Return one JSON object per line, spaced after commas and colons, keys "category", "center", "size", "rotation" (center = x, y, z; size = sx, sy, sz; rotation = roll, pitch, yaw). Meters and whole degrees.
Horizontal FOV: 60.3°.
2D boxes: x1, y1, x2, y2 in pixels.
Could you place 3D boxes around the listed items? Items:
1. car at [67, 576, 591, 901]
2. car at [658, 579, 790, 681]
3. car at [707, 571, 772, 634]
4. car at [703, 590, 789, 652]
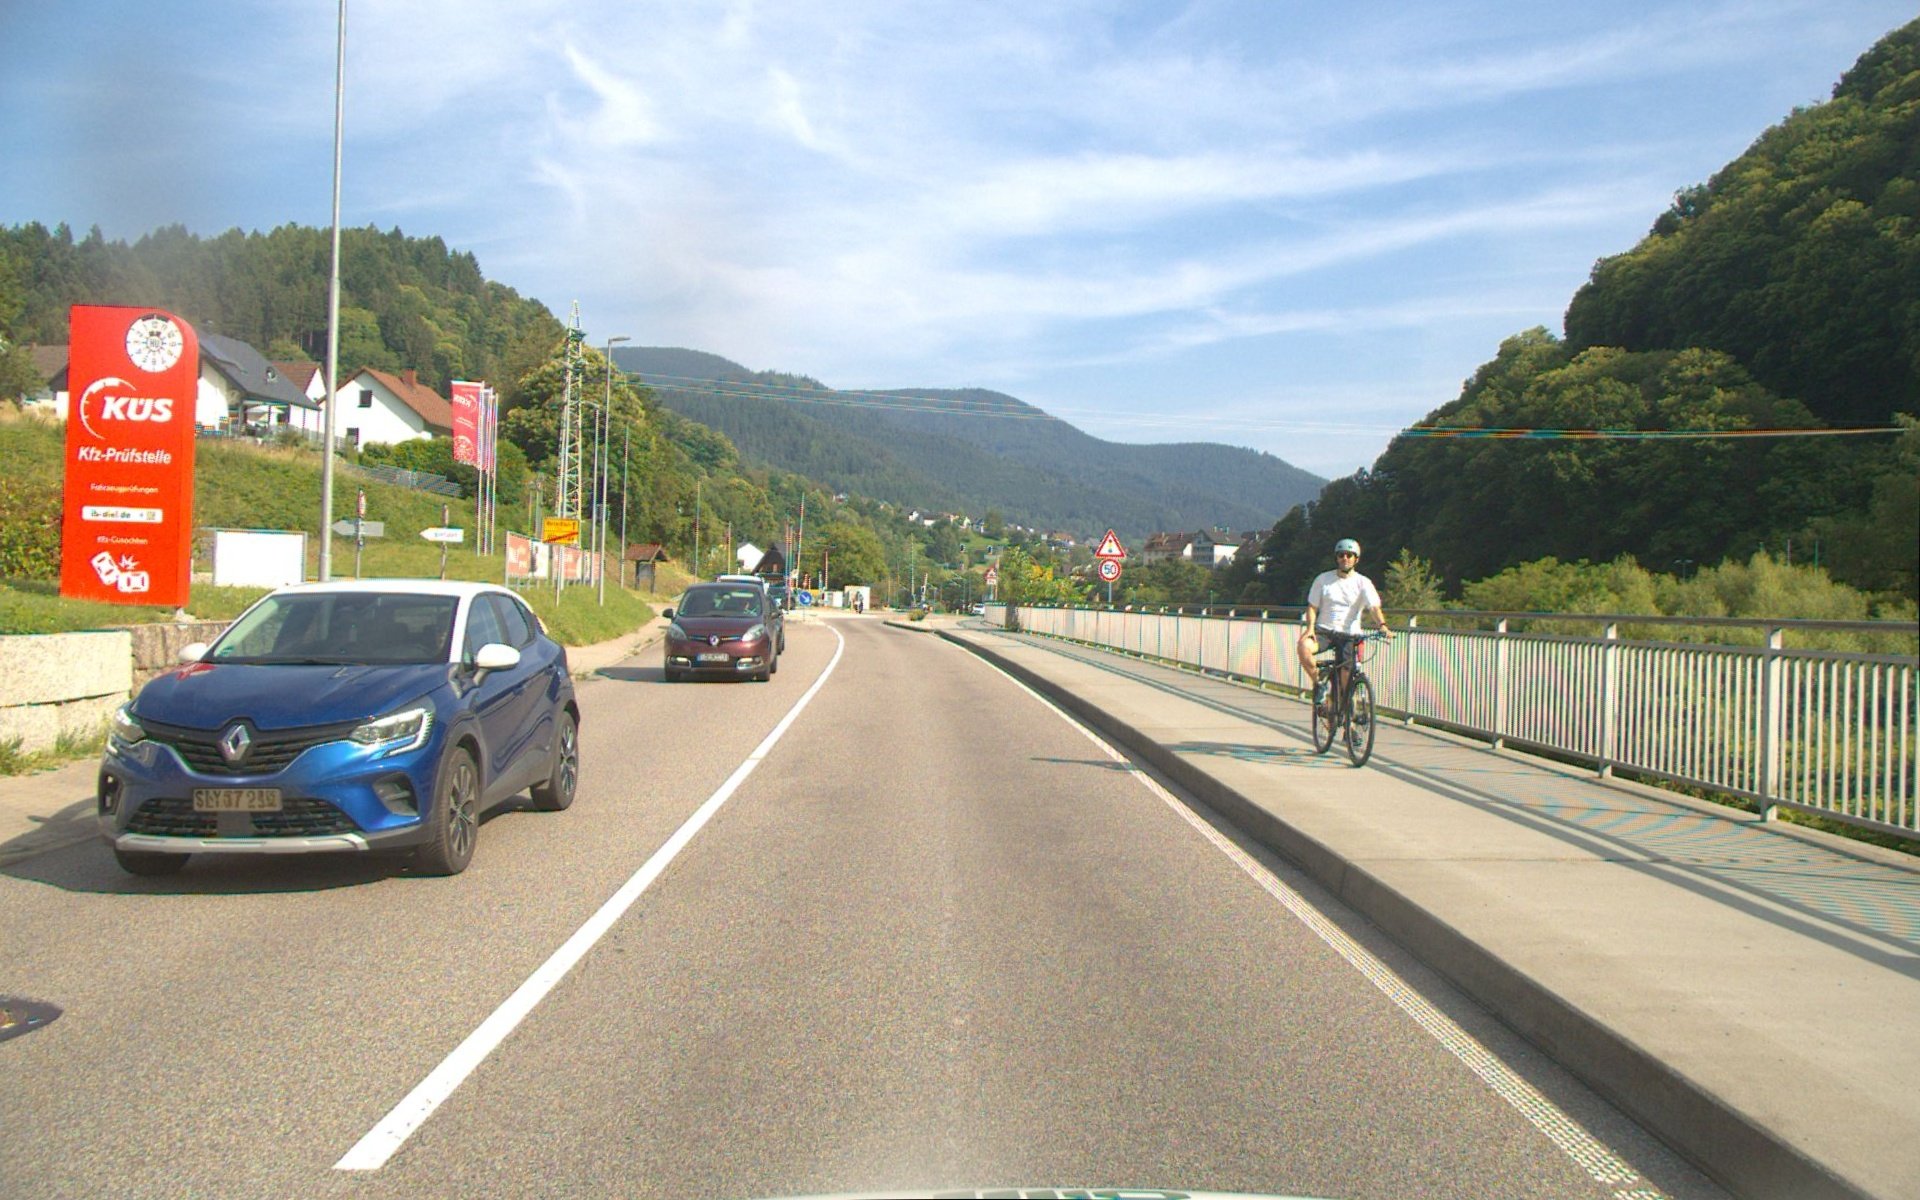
{"category": "car", "center": [-3.471, 0.650, 9.939], "size": [1.709, 1.553, 3.999], "rotation": [0, 0, -2]}
{"category": "car", "center": [-4.062, 0.470, 29.066], "size": [1.760, 1.646, 4.461], "rotation": [1, 0, -1]}
{"category": "car", "center": [-7.118, 0.067, 53.834], "size": [1.859, 1.920, 5.290], "rotation": [0, 0, -5]}
{"category": "car", "center": [-5.138, 0.482, 40.123], "size": [1.738, 1.423, 4.231], "rotation": [0, 0, -3]}
